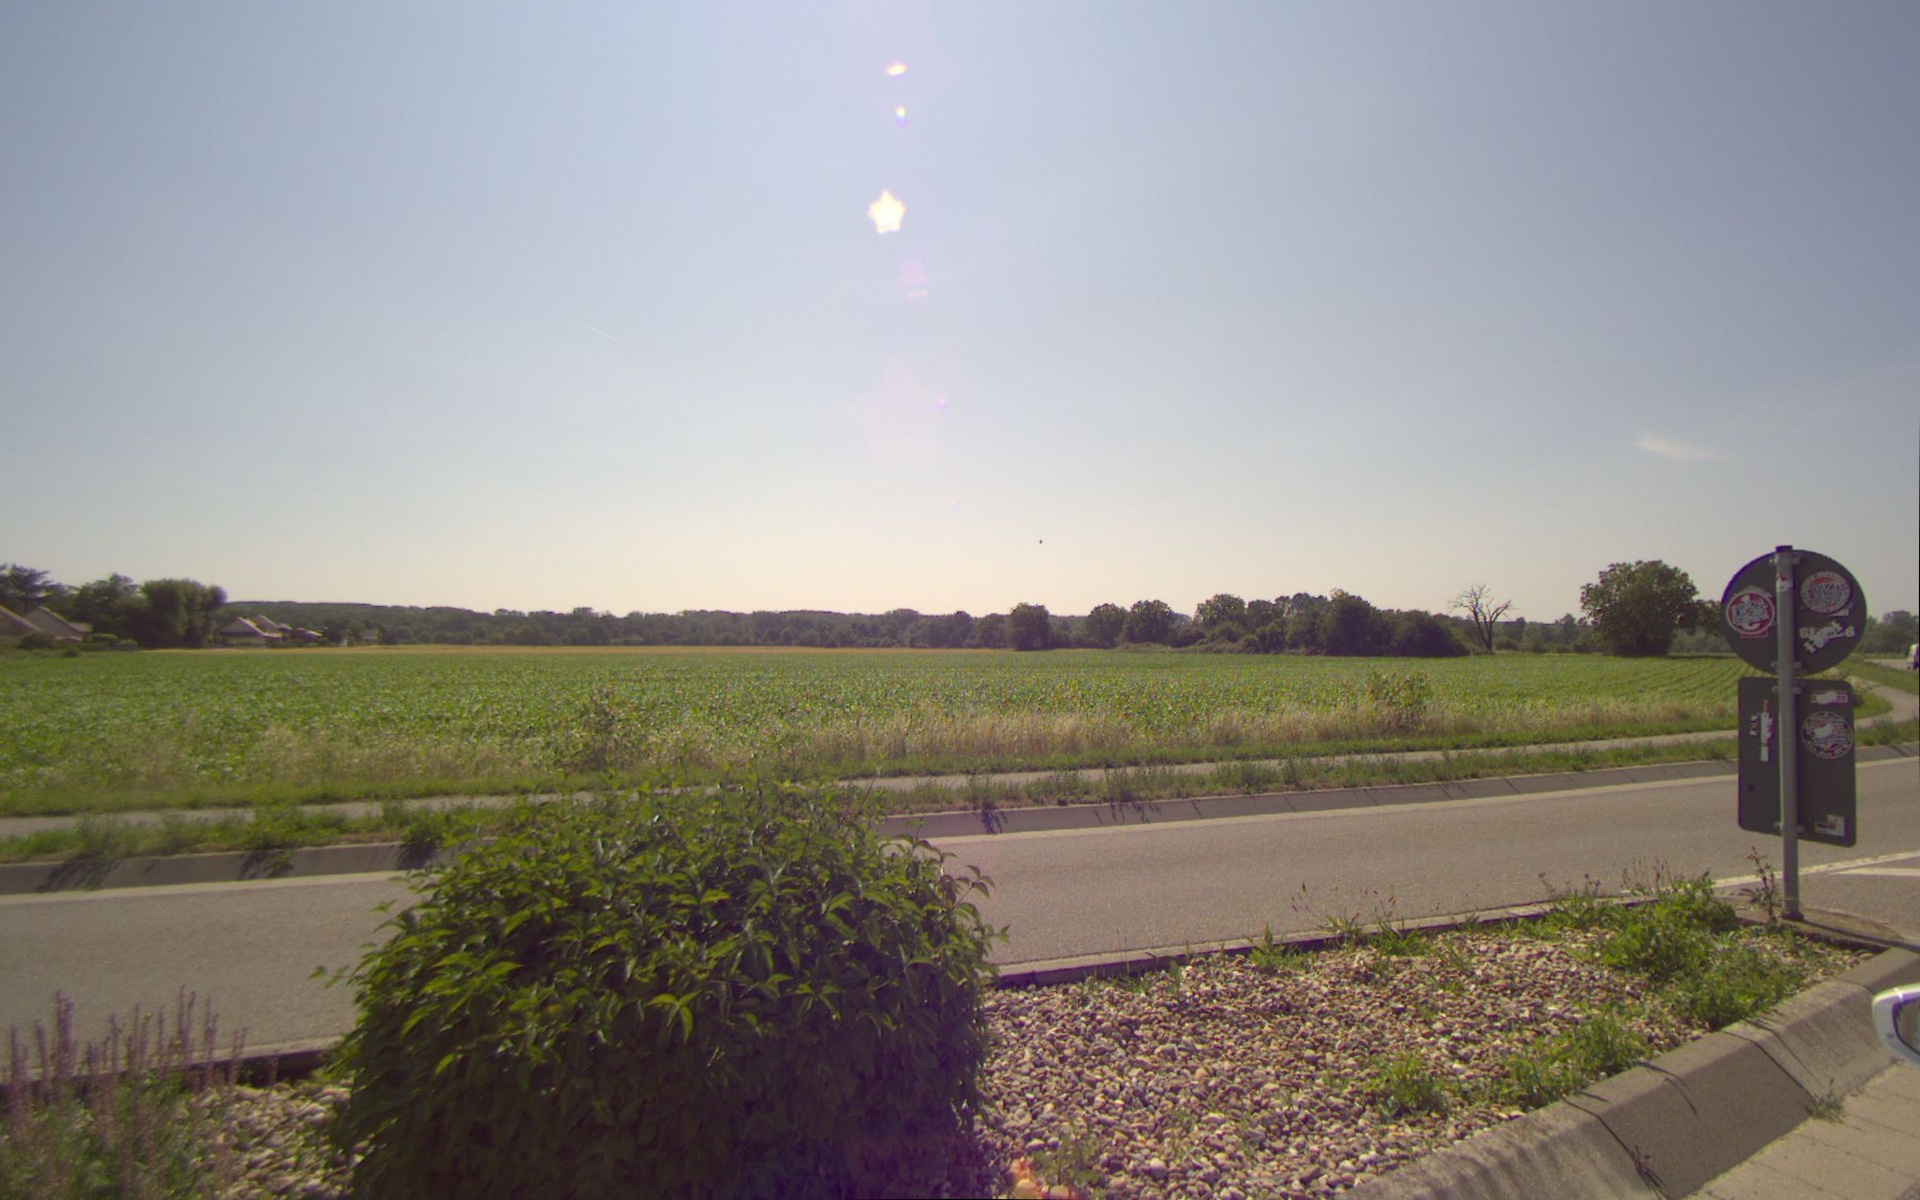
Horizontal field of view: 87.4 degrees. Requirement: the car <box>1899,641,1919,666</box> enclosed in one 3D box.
[{"bbox_3d":[92.440,5.168,96.986,2.079,2.398,5.662,-2,-3,39],"label":"car"}]
